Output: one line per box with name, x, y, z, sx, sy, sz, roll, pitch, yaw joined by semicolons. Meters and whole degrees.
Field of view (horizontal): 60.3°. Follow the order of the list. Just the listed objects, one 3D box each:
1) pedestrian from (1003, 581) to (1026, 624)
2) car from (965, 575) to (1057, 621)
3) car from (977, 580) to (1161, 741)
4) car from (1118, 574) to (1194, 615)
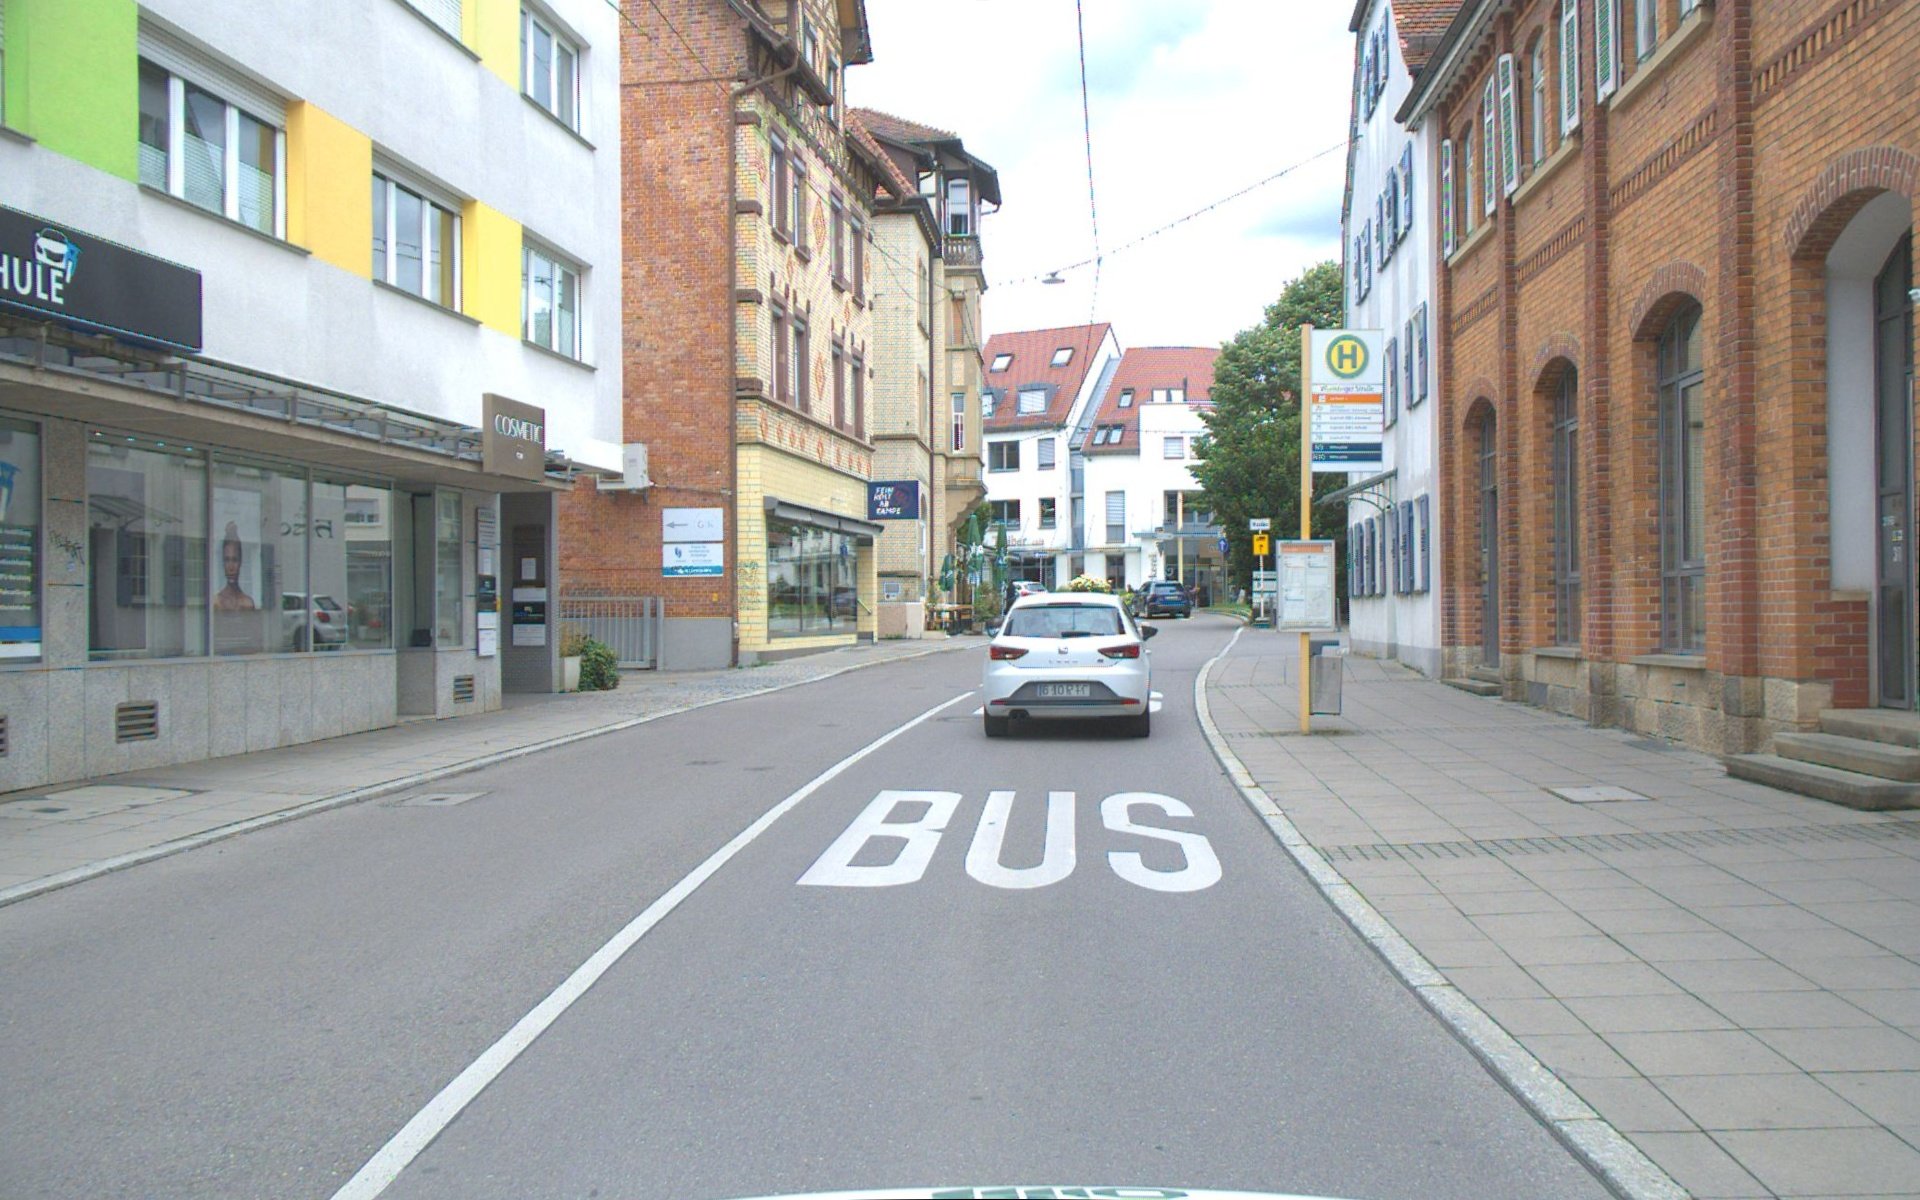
pedestrian;2.006;0.083;61.179;0.817;1.579;0.627;-1;0;2
car;2.340;-0.109;75.906;3.932;2.049;1.987;-1;0;44
car;1.271;0.571;18.039;1.773;1.506;3.874;-1;1;6
car;7.580;-0.226;64.260;1.779;1.506;3.859;-1;1;-12
